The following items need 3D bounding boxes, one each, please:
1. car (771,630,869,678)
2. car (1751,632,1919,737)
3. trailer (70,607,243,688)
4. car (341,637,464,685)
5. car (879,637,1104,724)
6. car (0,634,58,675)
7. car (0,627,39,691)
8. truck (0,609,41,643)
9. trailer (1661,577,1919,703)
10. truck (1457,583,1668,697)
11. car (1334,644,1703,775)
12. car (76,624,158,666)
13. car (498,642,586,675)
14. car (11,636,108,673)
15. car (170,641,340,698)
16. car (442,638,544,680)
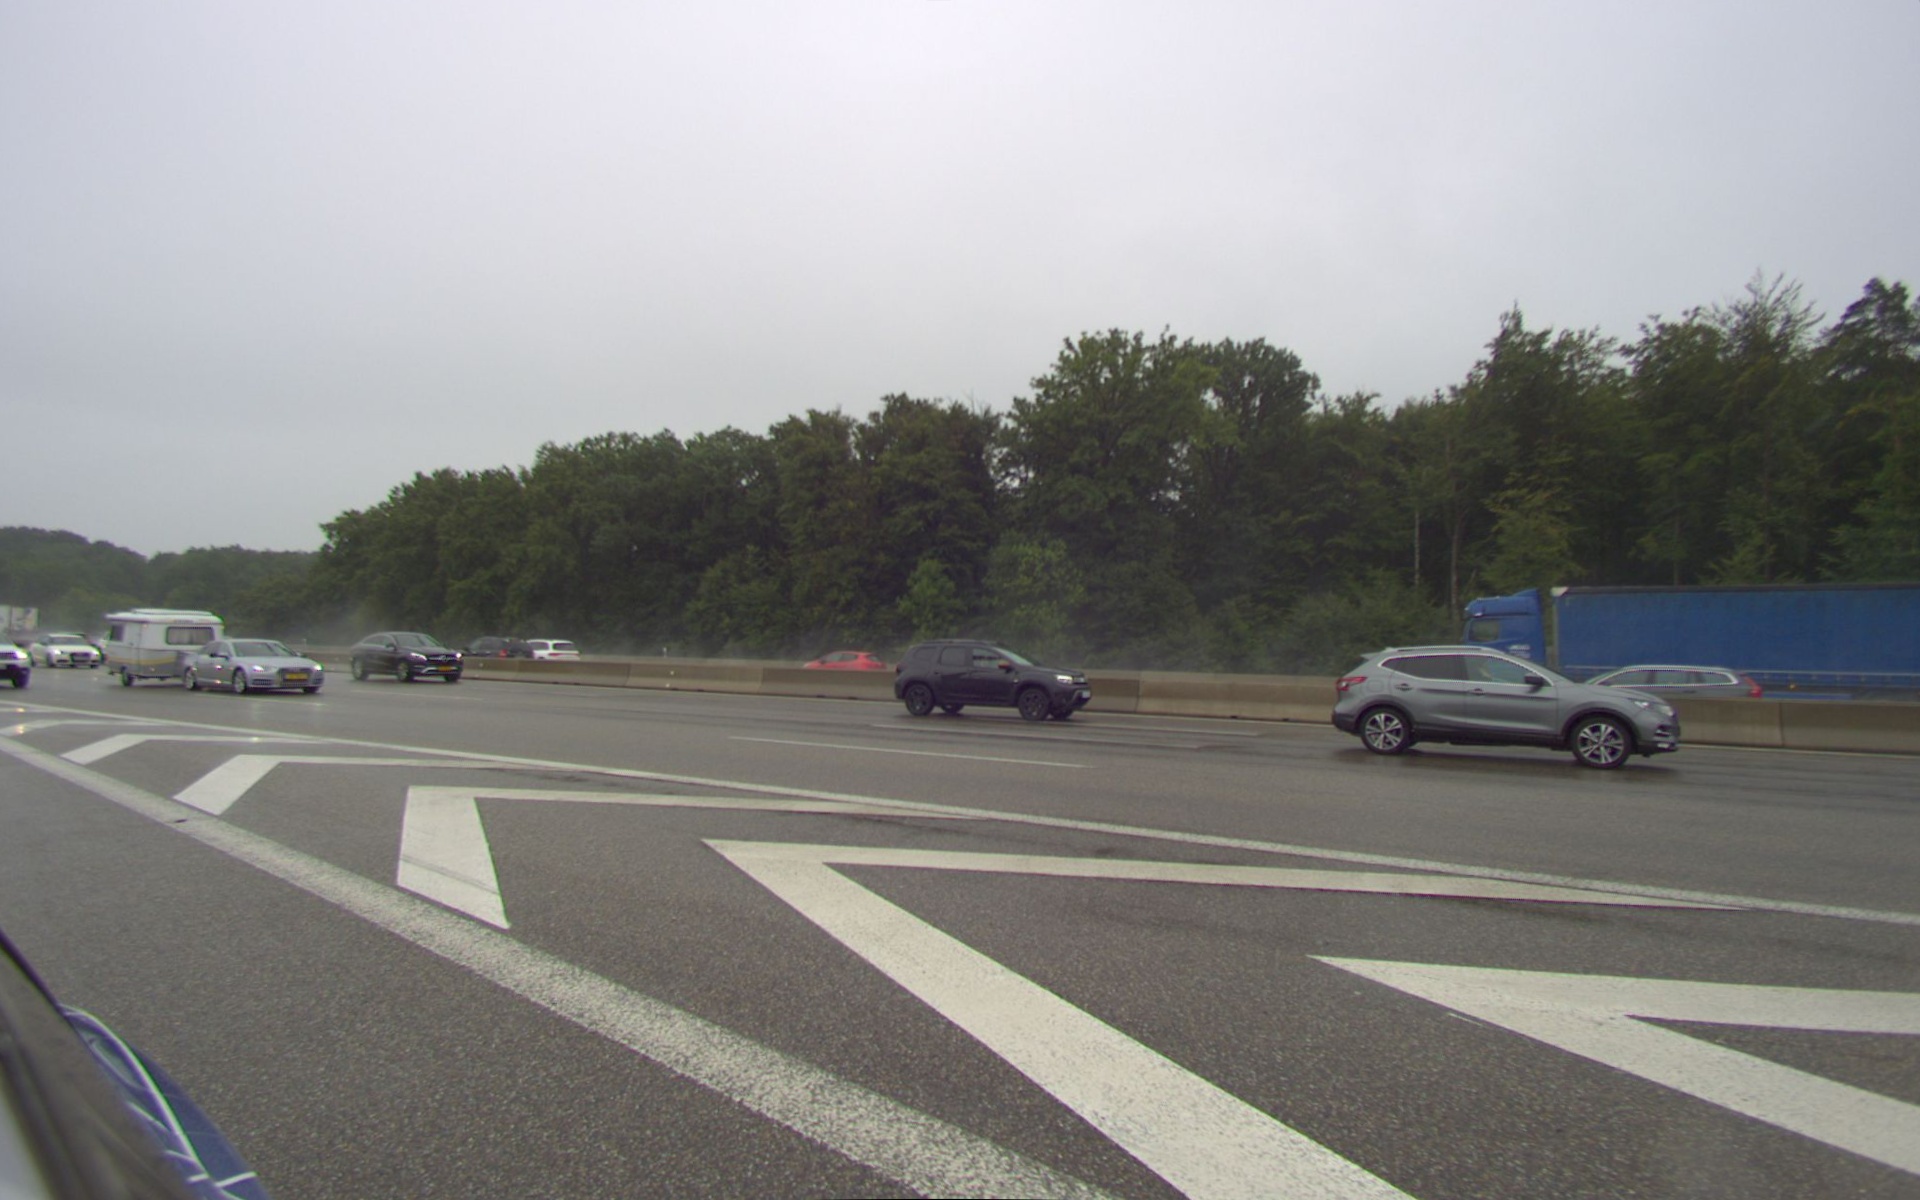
[{"bbox_3d":[-6.197,2.366,44.644,3.988,2.029,1.977,-1,-3,33],"label":"car"},{"bbox_3d":[18.822,1.680,20.615,3.985,2.029,1.861,-1,-3,31],"label":"car"},{"bbox_3d":[-23.402,1.406,29.444,5.159,2.172,2.114,-1,-5,31],"label":"trailer"},{"bbox_3d":[-19.693,2.146,35.706,4.509,1.587,1.692,-1,-5,31],"label":"car"},{"bbox_3d":[0.663,1.672,21.637,4.439,1.676,1.913,-1,-4,28],"label":"car"},{"bbox_3d":[-36.951,2.085,38.971,4.482,1.492,1.868,-1,-4,28],"label":"car"},{"bbox_3d":[-26.194,1.524,26.551,4.307,1.598,1.773,-1,-5,31],"label":"car"},{"bbox_3d":[-112.104,3.105,118.426,15.167,3.693,3.122,-1,-3,34],"label":"truck"},{"bbox_3d":[26.965,1.142,28.722,11.358,3.443,2.712,-1,-3,32],"label":"trailer"},{"bbox_3d":[19.632,1.297,33.245,5.690,3.441,2.741,-1,-3,32],"label":"truck"},{"bbox_3d":[7.714,1.447,14.315,4.320,1.586,1.705,-1,-4,32],"label":"car"},{"bbox_3d":[-42.176,2.241,50.640,3.984,2.029,1.922,-1,-1,30],"label":"car"},{"bbox_3d":[-20.298,2.797,49.057,4.321,1.538,1.774,-1,-3,33],"label":"car"},{"bbox_3d":[-38.767,2.342,43.546,4.487,1.492,1.866,-1,-4,32],"label":"car"},{"bbox_3d":[-18.318,1.776,26.251,4.564,1.358,1.832,-1,-5,31],"label":"car"},{"bbox_3d":[-20.539,2.566,44.479,4.195,1.697,1.979,0,-3,31],"label":"car"}]
